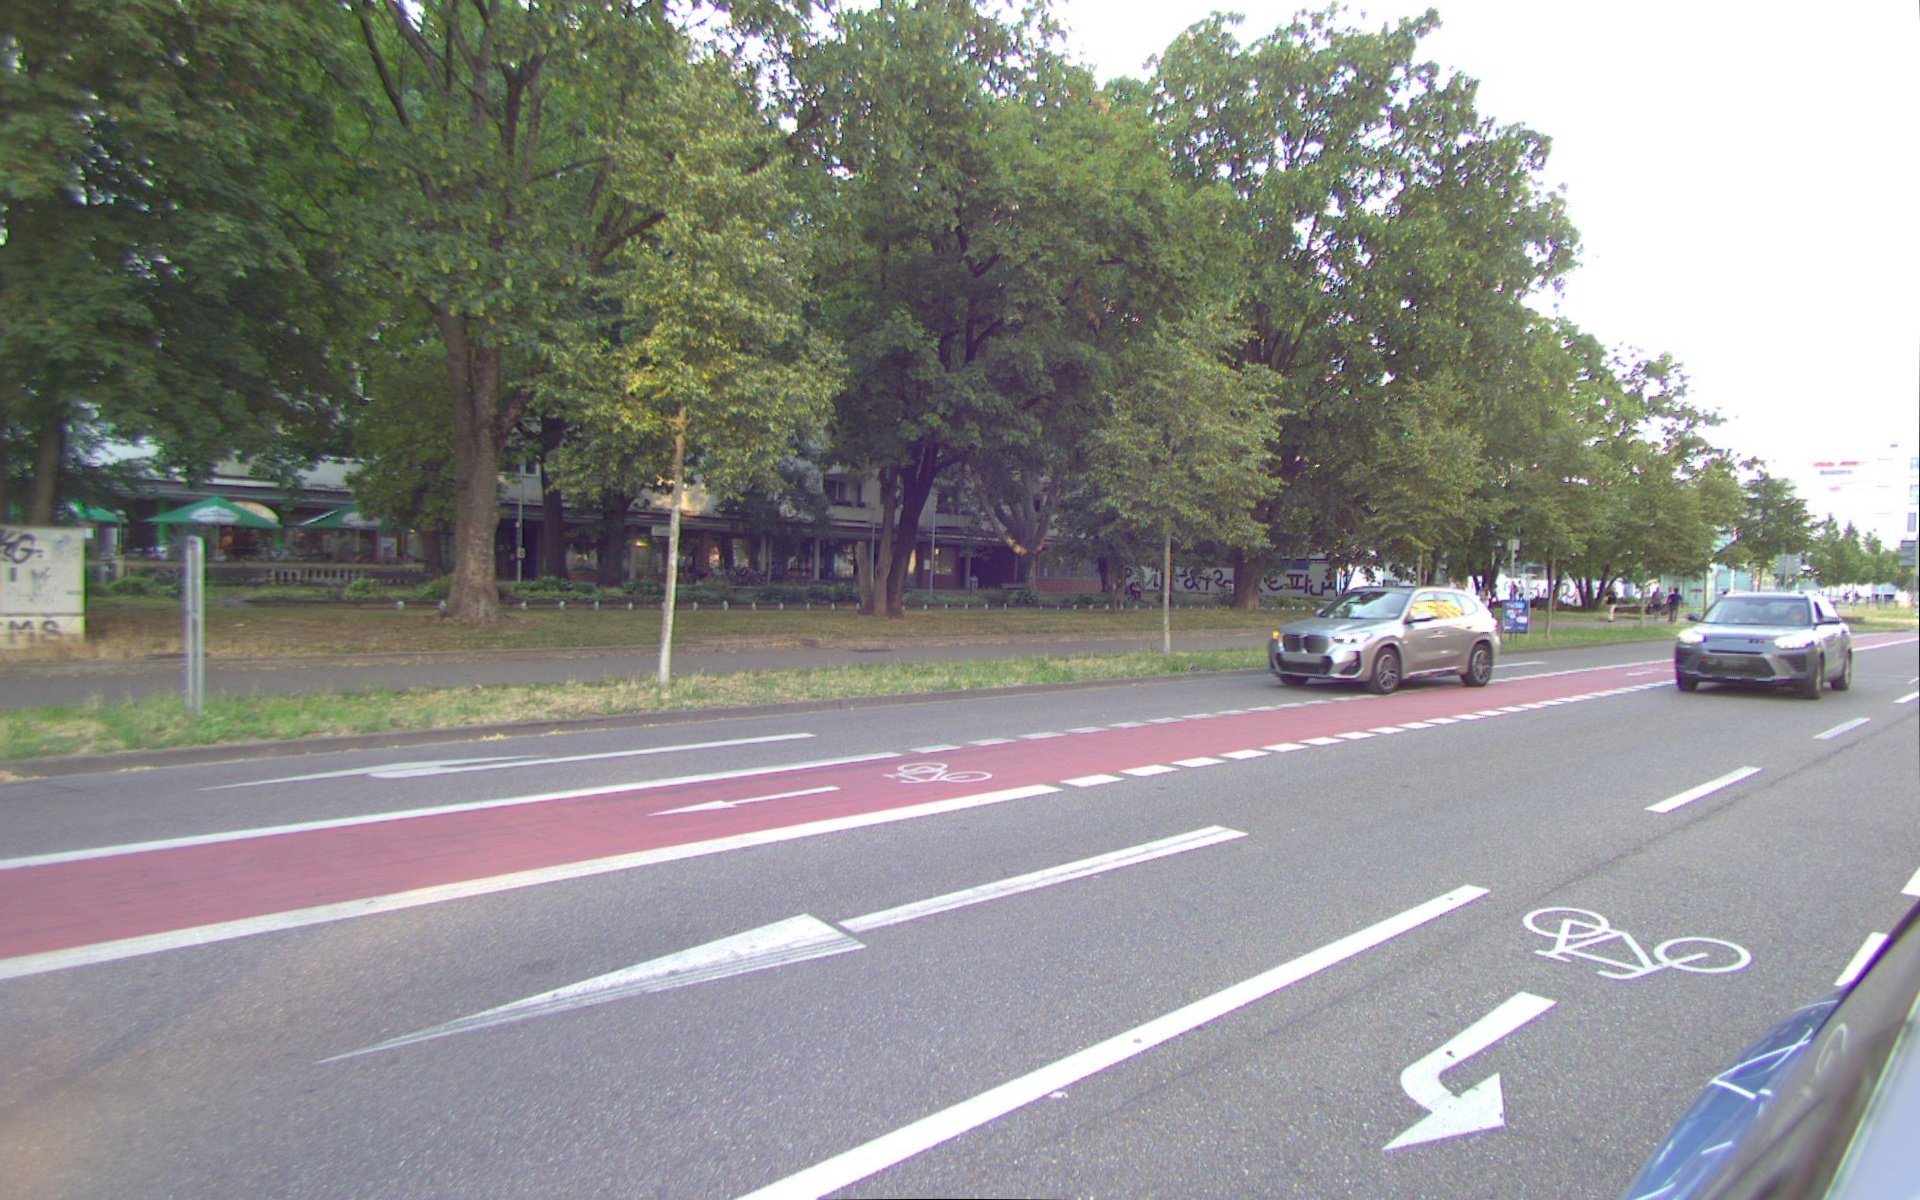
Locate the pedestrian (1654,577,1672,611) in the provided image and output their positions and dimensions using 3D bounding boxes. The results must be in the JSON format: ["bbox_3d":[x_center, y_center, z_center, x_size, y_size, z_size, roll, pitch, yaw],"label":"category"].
[{"bbox_3d":[35.983,-0.305,51.810,0.707,1.751,0.519,0,2,-40],"label":"pedestrian"}]

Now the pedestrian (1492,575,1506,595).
[{"bbox_3d":[37.880,-1.039,71.114,0.669,1.371,0.631,0,2,-41],"label":"pedestrian"}]

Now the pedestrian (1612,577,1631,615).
[{"bbox_3d":[30.555,-0.191,46.719,0.707,1.751,0.508,0,2,-41],"label":"pedestrian"}]

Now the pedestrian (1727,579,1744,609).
[{"bbox_3d":[45.936,-0.352,59.945,0.497,1.779,0.638,0,2,-40],"label":"pedestrian"}]

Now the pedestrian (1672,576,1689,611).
[{"bbox_3d":[36.393,-0.334,51.116,0.707,1.751,0.508,0,2,-41],"label":"pedestrian"}]

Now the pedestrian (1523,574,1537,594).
[{"bbox_3d":[39.351,-1.099,69.908,0.550,1.371,0.662,0,2,-40],"label":"pedestrian"}]

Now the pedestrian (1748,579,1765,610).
[{"bbox_3d":[46.513,-0.329,59.093,0.497,1.779,0.638,0,2,-40],"label":"pedestrian"}]

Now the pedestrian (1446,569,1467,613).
[{"bbox_3d":[18.624,-0.326,37.976,0.513,1.621,0.500,0,2,-41],"label":"pedestrian"}]

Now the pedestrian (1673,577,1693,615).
[{"bbox_3d":[33.855,-0.192,47.390,0.546,1.760,0.558,0,2,-41],"label":"pedestrian"}]

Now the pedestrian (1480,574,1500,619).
[{"bbox_3d":[19.464,-0.136,37.166,0.359,1.621,0.500,1,2,-40],"label":"pedestrian"}]

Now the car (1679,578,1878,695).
[{"bbox_3d":[13.404,0.514,16.492,4.141,1.647,1.781,0,1,-41],"label":"car"}]

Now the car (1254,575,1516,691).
[{"bbox_3d":[6.904,0.470,16.324,4.252,1.642,1.828,0,0,-33],"label":"car"}]
